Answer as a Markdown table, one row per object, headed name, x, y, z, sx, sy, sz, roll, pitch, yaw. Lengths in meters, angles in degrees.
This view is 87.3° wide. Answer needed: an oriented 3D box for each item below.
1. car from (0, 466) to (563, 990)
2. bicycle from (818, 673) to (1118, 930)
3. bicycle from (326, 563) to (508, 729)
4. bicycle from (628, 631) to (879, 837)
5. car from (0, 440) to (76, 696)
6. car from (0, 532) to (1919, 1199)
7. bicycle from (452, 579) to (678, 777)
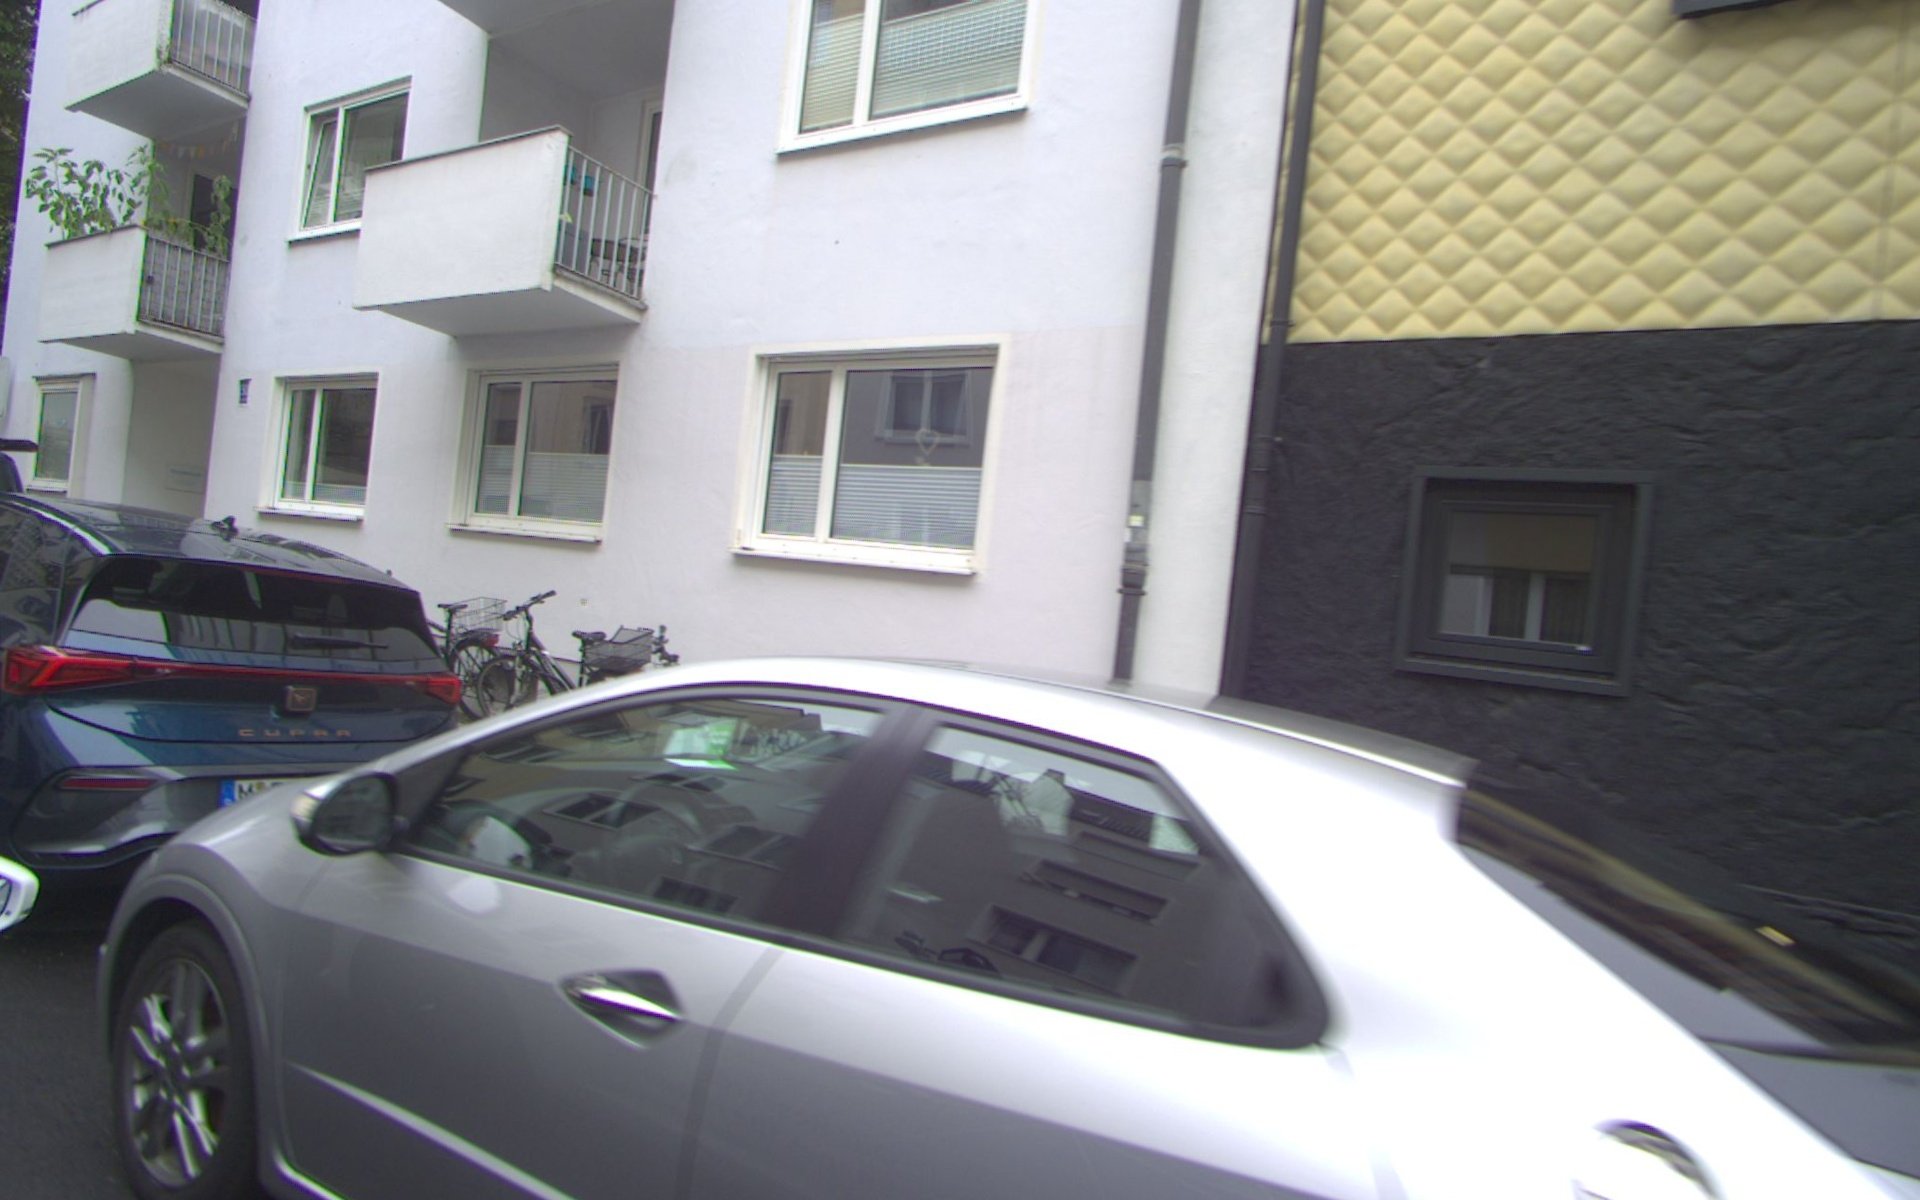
| name | x | y | z | sx | sy | sz | roll | pitch | yaw |
| --- | --- | --- | --- | --- | --- | --- | --- | --- | --- |
| car | -4.317 | 0.260 | 4.959 | 4.548 | 1.572 | 1.908 | 6 | -1 | 31 |
| bicycle | 0.016 | 1.034 | 5.506 | 1.496 | 1.060 | 0.478 | 7 | 0 | 31 |
| bicycle | -4.483 | 0.362 | 8.288 | 1.406 | 1.164 | 0.571 | 7 | 0 | 31 |
| bicycle | -1.325 | 0.800 | 6.348 | 1.526 | 1.014 | 0.478 | 7 | -1 | 31 |
| car | -9.123 | -0.470 | 7.867 | 4.702 | 1.813 | 1.877 | 6 | -1 | 31 |
| car | -0.136 | 0.843 | 2.275 | 4.189 | 1.446 | 1.765 | 6 | -4 | 29 |
| bicycle | -2.845 | 0.525 | 7.196 | 1.537 | 1.164 | 0.571 | 7 | 0 | 31 |
